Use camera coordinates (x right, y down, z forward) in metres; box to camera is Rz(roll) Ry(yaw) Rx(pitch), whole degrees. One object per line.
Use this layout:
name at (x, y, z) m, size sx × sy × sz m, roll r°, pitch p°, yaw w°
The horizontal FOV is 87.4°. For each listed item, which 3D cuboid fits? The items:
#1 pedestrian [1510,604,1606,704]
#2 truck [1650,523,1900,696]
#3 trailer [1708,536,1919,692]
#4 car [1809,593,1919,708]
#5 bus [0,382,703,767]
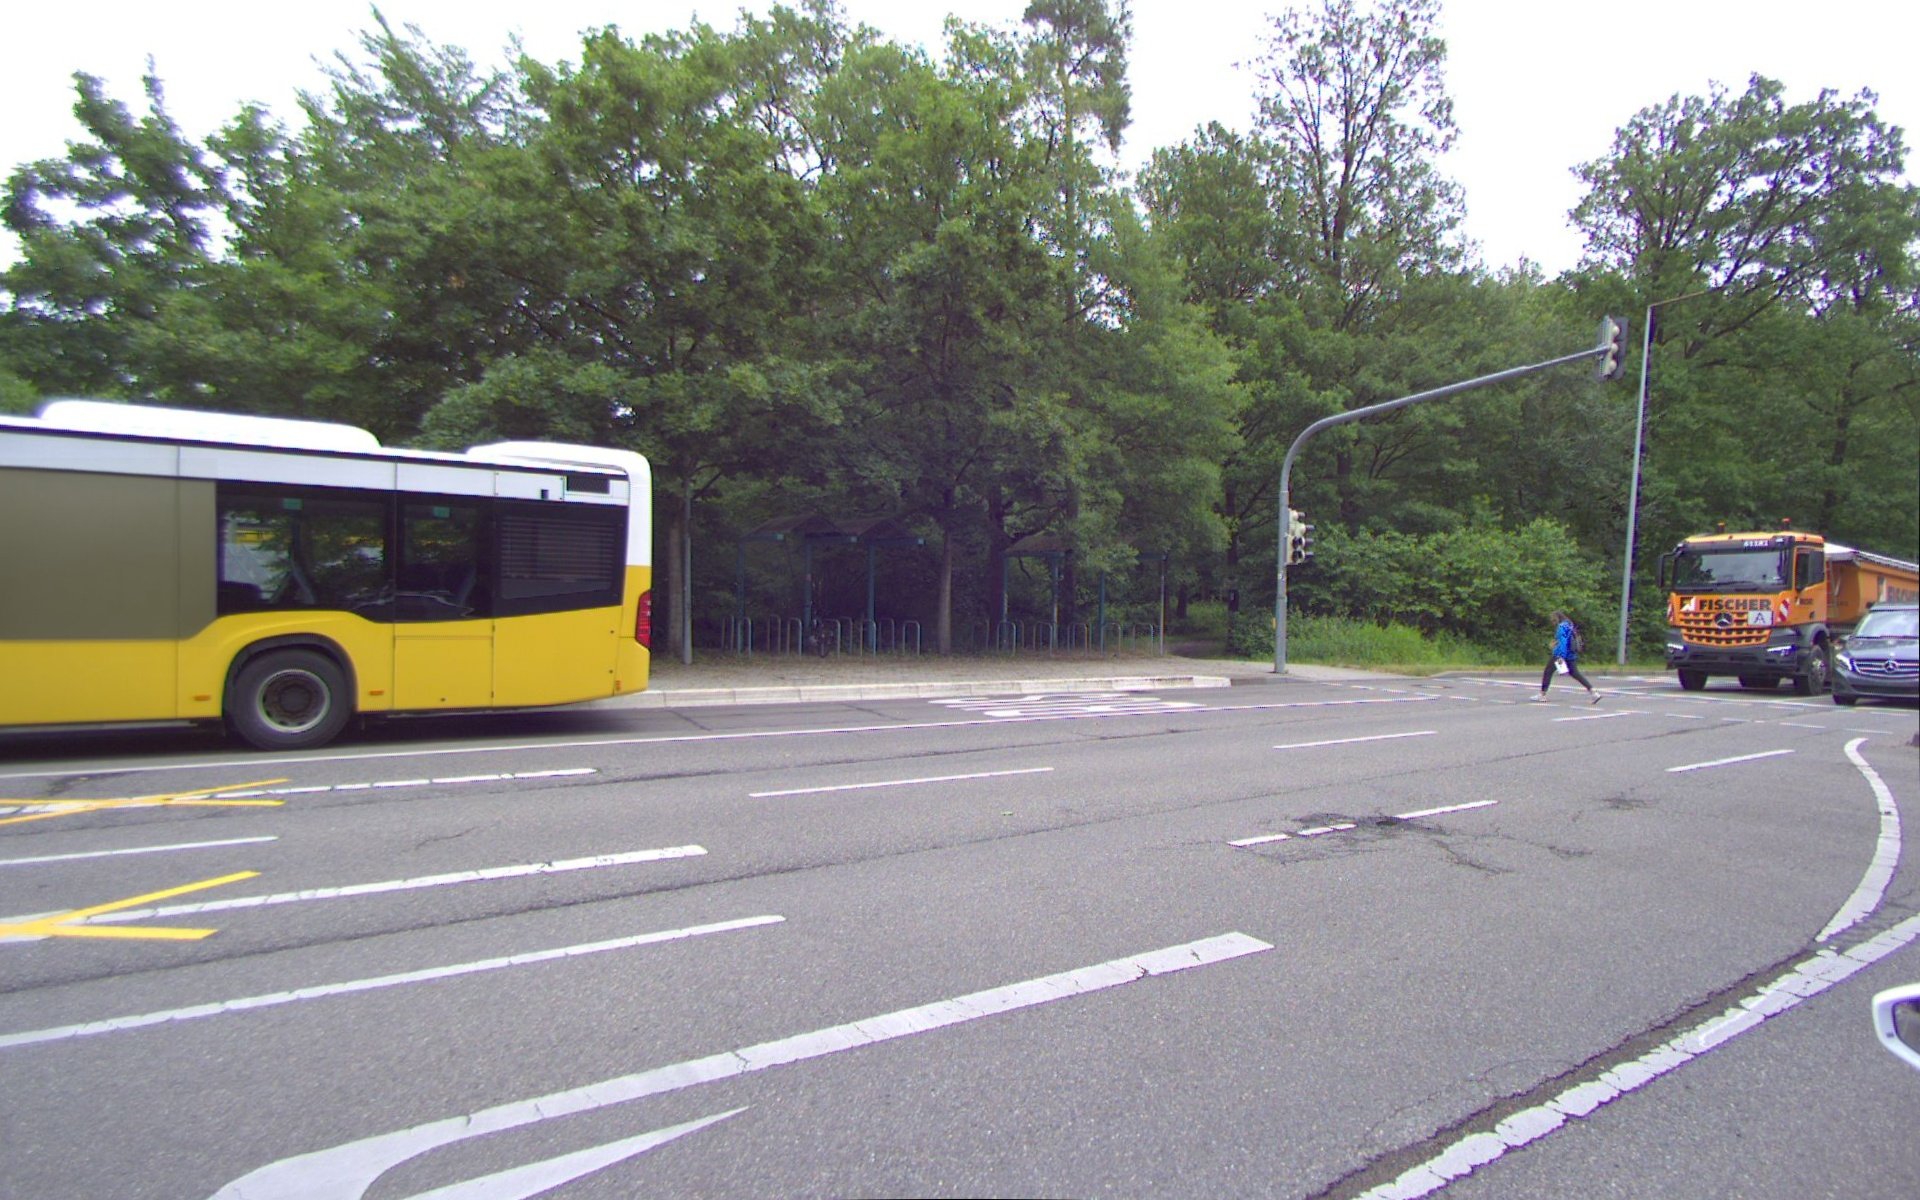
pedestrian at (10.496, 0.919, 17.651) m, size 1.055 × 1.671 × 1.043 m, roll 0°, pitch 0°, yaw -27°
truck at (18.597, 0.306, 22.770) m, size 7.092 × 3.362 × 2.720 m, roll 2°, pitch -1°, yaw -36°
trailer at (22.005, 0.451, 25.296) m, size 8.488 × 3.362 × 2.720 m, roll 2°, pitch -1°, yaw -36°
car at (17.765, 0.915, 18.615) m, size 4.790 × 1.918 × 1.981 m, roll 2°, pitch -2°, yaw -35°
bus at (-7.313, -0.199, 10.303) m, size 8.595 × 3.169 × 2.884 m, roll 1°, pitch 0°, yaw -31°
